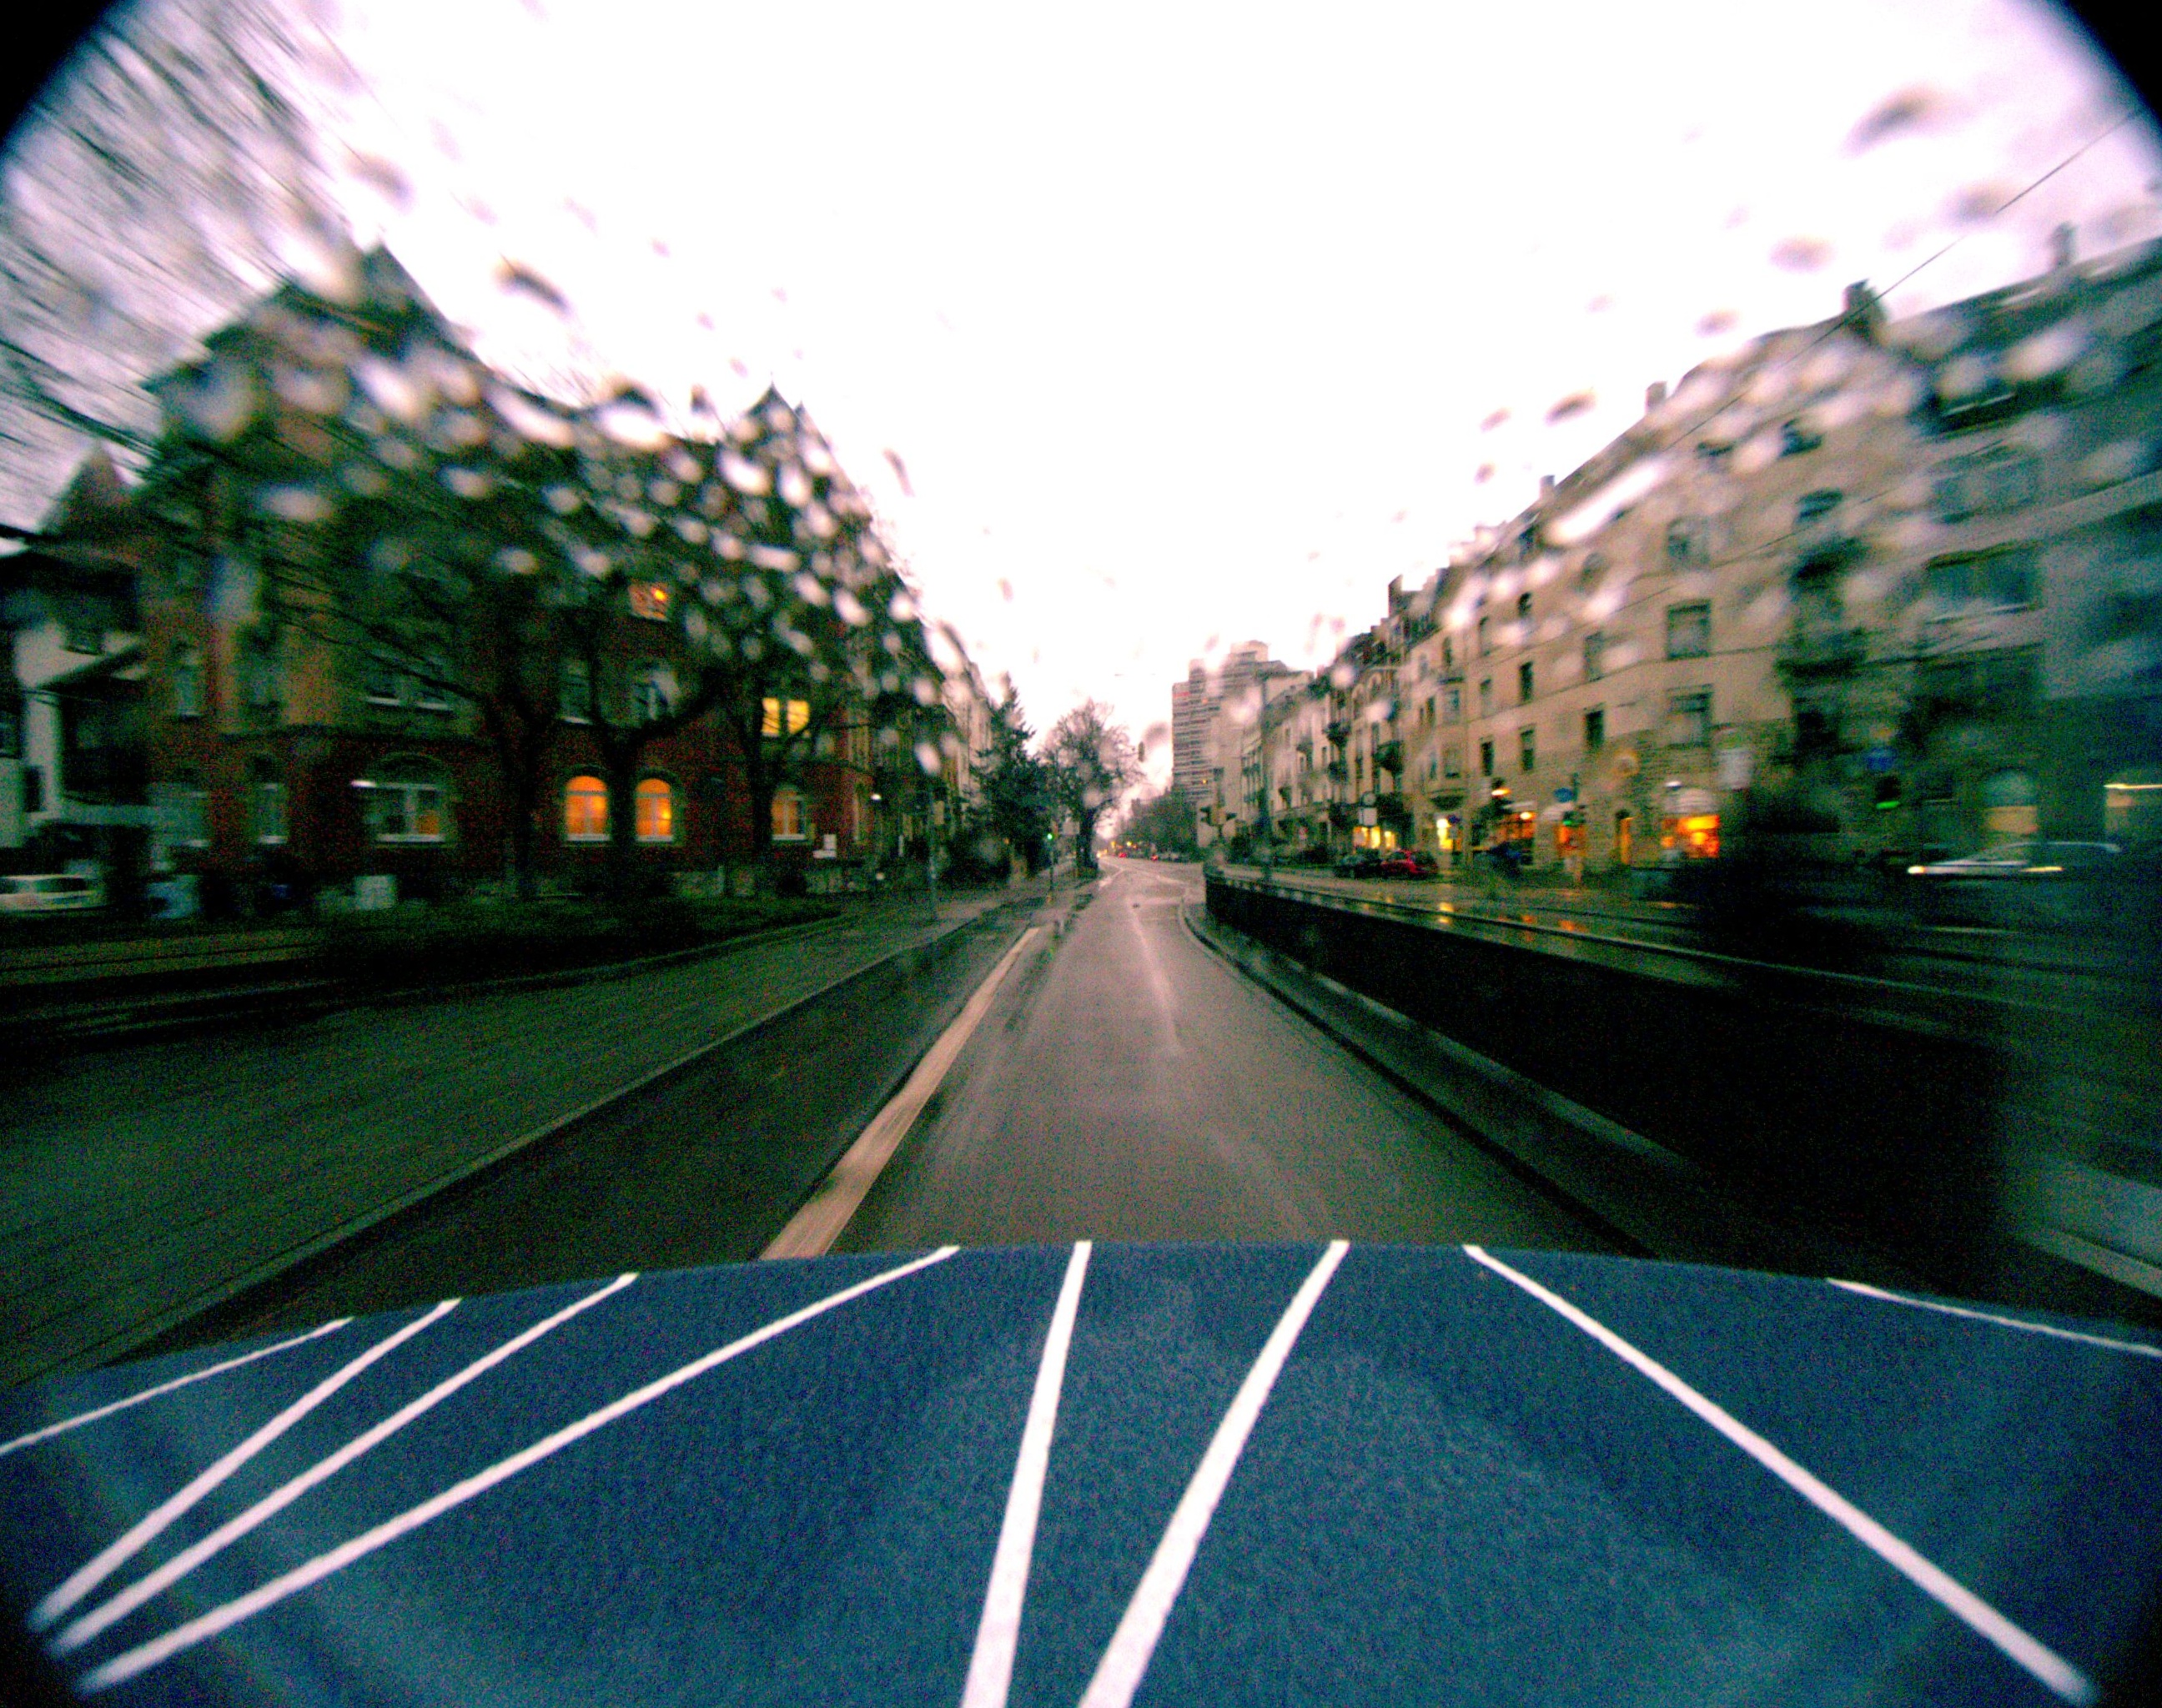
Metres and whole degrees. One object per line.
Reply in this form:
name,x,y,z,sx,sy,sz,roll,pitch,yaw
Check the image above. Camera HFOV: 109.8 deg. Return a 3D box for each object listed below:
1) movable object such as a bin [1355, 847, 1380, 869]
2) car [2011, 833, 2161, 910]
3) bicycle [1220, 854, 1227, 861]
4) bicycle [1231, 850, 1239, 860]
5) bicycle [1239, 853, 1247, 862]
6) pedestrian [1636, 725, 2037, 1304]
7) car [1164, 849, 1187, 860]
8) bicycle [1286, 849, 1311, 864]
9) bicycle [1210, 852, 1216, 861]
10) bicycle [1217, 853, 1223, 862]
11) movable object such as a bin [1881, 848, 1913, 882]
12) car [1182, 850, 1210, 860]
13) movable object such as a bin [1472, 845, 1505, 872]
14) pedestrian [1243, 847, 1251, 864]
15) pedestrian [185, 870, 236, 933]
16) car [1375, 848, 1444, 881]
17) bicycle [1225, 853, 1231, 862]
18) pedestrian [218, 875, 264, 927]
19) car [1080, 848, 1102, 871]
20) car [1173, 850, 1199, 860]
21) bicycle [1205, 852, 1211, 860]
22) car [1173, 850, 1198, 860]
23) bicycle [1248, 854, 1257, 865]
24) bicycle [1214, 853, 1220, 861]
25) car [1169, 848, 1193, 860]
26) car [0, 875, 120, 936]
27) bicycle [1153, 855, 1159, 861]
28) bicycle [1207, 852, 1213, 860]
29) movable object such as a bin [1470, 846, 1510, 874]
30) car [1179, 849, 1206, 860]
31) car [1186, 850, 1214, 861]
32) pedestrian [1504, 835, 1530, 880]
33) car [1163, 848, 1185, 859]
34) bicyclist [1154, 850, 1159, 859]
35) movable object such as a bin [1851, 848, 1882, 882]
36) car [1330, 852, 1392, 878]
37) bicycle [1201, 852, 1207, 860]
movable object such as a bin,19.578,0.277,51.990,1.239,1.423,1.074,-4,1,-1
car,23.988,0.362,16.646,4.332,1.574,1.941,-3,1,43
bicycle,16.725,0.383,89.105,0.442,0.827,1.768,-4,0,2
bicycle,16.878,0.118,83.380,0.485,1.001,2.209,-4,0,2
bicycle,16.756,0.355,78.519,0.530,0.884,2.210,-4,0,5
pedestrian,2.805,0.558,2.894,0.855,1.944,0.571,-4,1,1
car,16.792,0.010,135.157,3.839,1.707,1.727,-4,1,1
bicycle,19.369,0.204,67.681,1.989,1.152,0.531,-4,1,0
bicycle,16.749,0.301,96.594,0.435,1.001,1.881,-4,1,2
bicycle,16.649,0.389,91.063,0.435,1.001,1.605,-4,1,2
movable object such as a bin,27.590,0.378,25.699,0.647,1.129,0.655,0,1,37
car,17.097,0.196,112.810,3.839,1.405,1.727,-1,0,1
movable object such as a bin,22.052,0.256,41.122,1.004,1.364,1.274,-4,1,-1
pedestrian,15.954,0.140,72.967,0.573,1.633,0.449,-4,1,-3
pedestrian,-21.869,1.188,19.096,0.545,1.517,0.645,-2,0,22
car,17.293,0.532,40.166,1.677,1.507,3.677,-4,0,-6
bicycle,16.878,0.385,87.289,0.435,1.001,1.712,-4,1,2
pedestrian,-21.924,1.229,19.828,0.545,1.309,0.609,-2,0,22
car,0.915,0.461,68.887,1.726,1.934,4.508,-4,0,-1
car,16.707,0.183,121.444,3.839,1.405,1.727,-3,0,1
bicycle,16.834,0.206,100.624,0.435,1.001,1.881,-4,1,2
car,17.342,0.142,125.927,3.839,1.405,1.727,-4,1,1
bicycle,16.627,0.511,73.718,0.530,0.934,2.086,-4,0,5
bicycle,16.651,0.353,93.174,0.435,1.001,1.881,-4,1,2
car,17.403,0.023,132.330,3.839,1.707,1.727,-4,0,1
car,-28.601,1.355,20.822,3.991,1.487,1.650,-1,0,20
bicycle,12.497,0.688,126.251,0.649,0.884,1.712,0,0,-7
bicycle,16.710,0.269,98.603,0.435,1.001,1.881,-4,1,2
movable object such as a bin,21.443,0.287,39.844,1.352,1.364,1.281,-4,1,-1
car,16.925,0.131,115.619,3.839,1.405,1.727,-4,1,1
car,17.262,0.218,110.135,3.839,1.405,1.727,-1,1,1
pedestrian,18.677,0.148,32.557,0.796,1.867,0.896,-3,1,36
car,17.001,-0.049,139.110,3.839,1.707,1.727,-4,1,1
bicyclist,12.486,0.109,126.202,0.657,1.492,0.658,0,1,-7
movable object such as a bin,27.044,0.370,26.171,0.647,1.129,0.693,0,1,37
car,16.723,0.630,45.644,1.807,1.382,4.507,-4,0,-3
bicycle,16.754,0.302,103.548,0.469,1.001,1.881,-4,1,2
